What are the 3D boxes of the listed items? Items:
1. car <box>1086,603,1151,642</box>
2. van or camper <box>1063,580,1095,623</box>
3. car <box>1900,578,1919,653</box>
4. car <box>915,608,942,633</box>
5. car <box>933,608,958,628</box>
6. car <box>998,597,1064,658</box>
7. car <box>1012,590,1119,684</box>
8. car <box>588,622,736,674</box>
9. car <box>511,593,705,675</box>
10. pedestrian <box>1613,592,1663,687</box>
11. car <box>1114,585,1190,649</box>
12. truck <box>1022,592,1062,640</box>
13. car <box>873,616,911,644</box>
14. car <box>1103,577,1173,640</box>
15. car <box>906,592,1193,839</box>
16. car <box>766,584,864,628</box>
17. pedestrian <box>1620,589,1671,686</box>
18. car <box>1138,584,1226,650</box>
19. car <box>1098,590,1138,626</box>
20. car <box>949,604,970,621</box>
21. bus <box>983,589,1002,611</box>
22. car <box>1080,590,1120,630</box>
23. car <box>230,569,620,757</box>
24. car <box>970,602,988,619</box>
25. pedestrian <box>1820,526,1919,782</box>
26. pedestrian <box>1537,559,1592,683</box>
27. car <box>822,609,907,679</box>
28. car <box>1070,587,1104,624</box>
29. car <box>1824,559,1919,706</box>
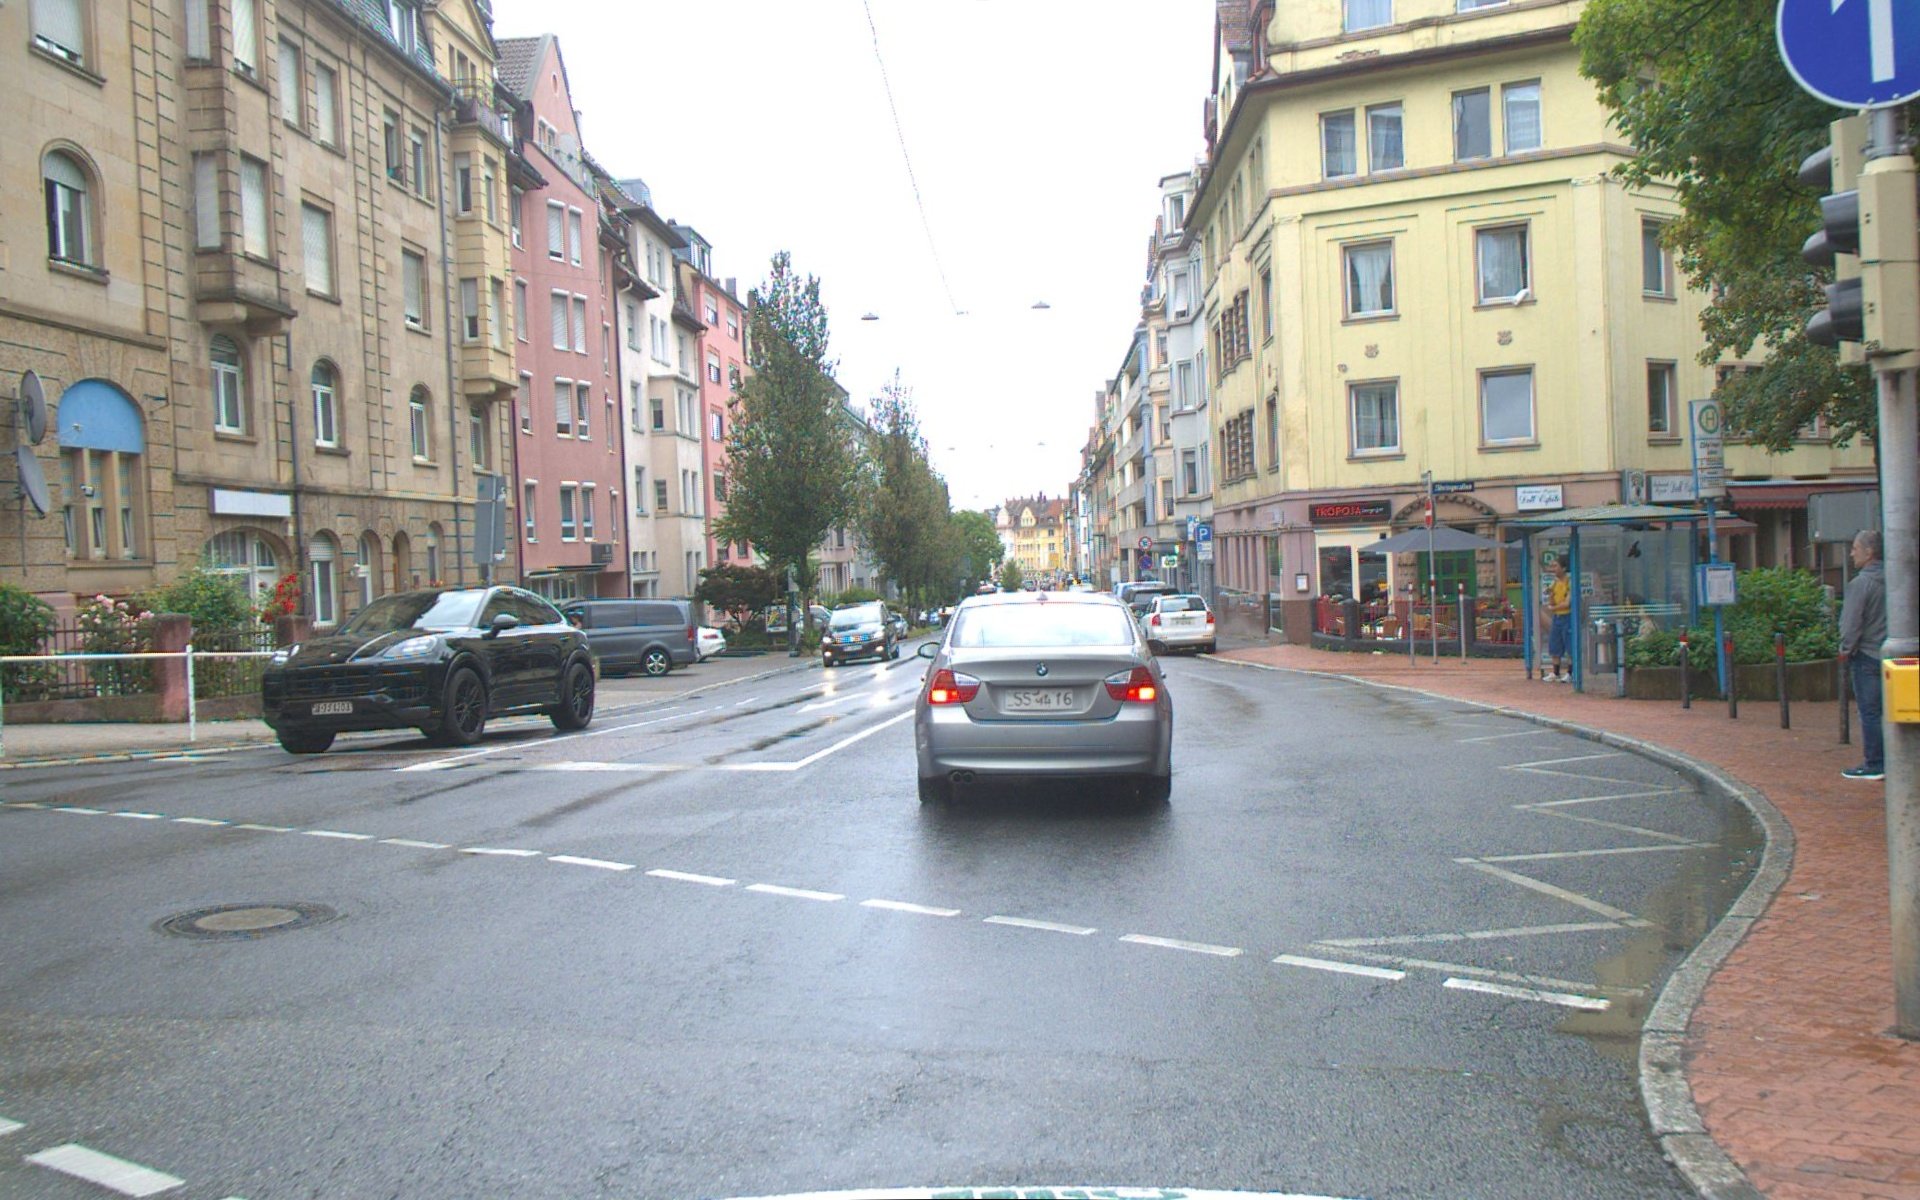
[{"bbox_3d":[6.256,0.895,65.719,1.838,1.493,4.771,-1,-1,-4],"label":"car"},{"bbox_3d":[8.491,0.117,117.554,1.990,2.919,6.889,1,0,6],"label":"van or camper"},{"bbox_3d":[21.722,0.326,33.299,1.773,1.555,4.588,0,0,-36],"label":"car"},{"bbox_3d":[-2.260,1.464,119.627,1.730,1.621,4.001,-4,-1,1],"label":"car"},{"bbox_3d":[-1.213,1.505,140.856,1.789,1.550,3.738,-4,0,4],"label":"car"},{"bbox_3d":[1.891,0.729,43.735,1.662,1.509,3.795,-1,-1,3],"label":"car"},{"bbox_3d":[1.765,0.598,27.669,1.646,1.453,3.742,-1,-1,4],"label":"car"},{"bbox_3d":[-9.812,1.583,54.705,4.454,1.425,1.768,-3,0,2],"label":"car"},{"bbox_3d":[-8.745,0.827,41.414,4.586,1.972,1.860,0,0,-7],"label":"car"},{"bbox_3d":[9.469,0.542,23.109,0.557,1.302,0.619,0,0,15],"label":"pedestrian"},{"bbox_3d":[5.498,0.483,47.922,1.839,1.762,4.678,-1,-1,3],"label":"car"},{"bbox_3d":[4.272,0.854,86.450,1.990,2.455,4.828,-1,-1,2],"label":"truck"},{"bbox_3d":[-3.704,1.643,90.732,1.690,1.510,3.990,0,-1,3],"label":"car"},{"bbox_3d":[5.747,0.288,53.978,1.879,1.859,5.010,-3,-1,2],"label":"car"},{"bbox_3d":[0.695,0.697,11.954,1.732,1.453,3.743,0,1,5],"label":"car"},{"bbox_3d":[-7.521,0.329,85.895,4.729,2.008,2.048,-3,-1,2],"label":"car"},{"bbox_3d":[9.325,0.504,22.510,0.557,1.302,0.535,0,0,15],"label":"pedestrian"},{"bbox_3d":[5.650,0.435,42.584,1.761,1.592,4.493,-1,-1,2],"label":"car"},{"bbox_3d":[8.145,0.427,85.521,1.690,1.699,4.289,-4,-1,2],"label":"car"},{"bbox_3d":[-0.032,1.183,161.586,1.655,1.550,3.738,-4,0,4],"label":"car"},{"bbox_3d":[4.907,-0.005,248.634,2.613,3.077,7.672,-3,-1,3],"label":"bus"},{"bbox_3d":[7.802,0.572,92.388,1.941,2.042,4.626,-3,-1,2],"label":"car"},{"bbox_3d":[-5.532,0.648,17.892,1.923,1.723,4.811,-2,-1,11],"label":"car"},{"bbox_3d":[1.874,1.069,162.506,1.602,1.534,3.755,-5,-1,2],"label":"car"},{"bbox_3d":[6.590,0.368,11.747,0.560,1.764,0.731,0,0,-3],"label":"pedestrian"},{"bbox_3d":[8.931,0.303,24.443,0.538,1.806,0.554,0,0,-31],"label":"pedestrian"},{"bbox_3d":[-2.539,1.139,44.817,1.587,1.677,4.422,-5,-1,4],"label":"car"},{"bbox_3d":[8.192,0.353,107.055,1.941,2.203,4.751,-3,-1,2],"label":"car"},{"bbox_3d":[11.325,0.364,18.367,3.637,1.528,1.747,1,0,-39],"label":"car"}]
